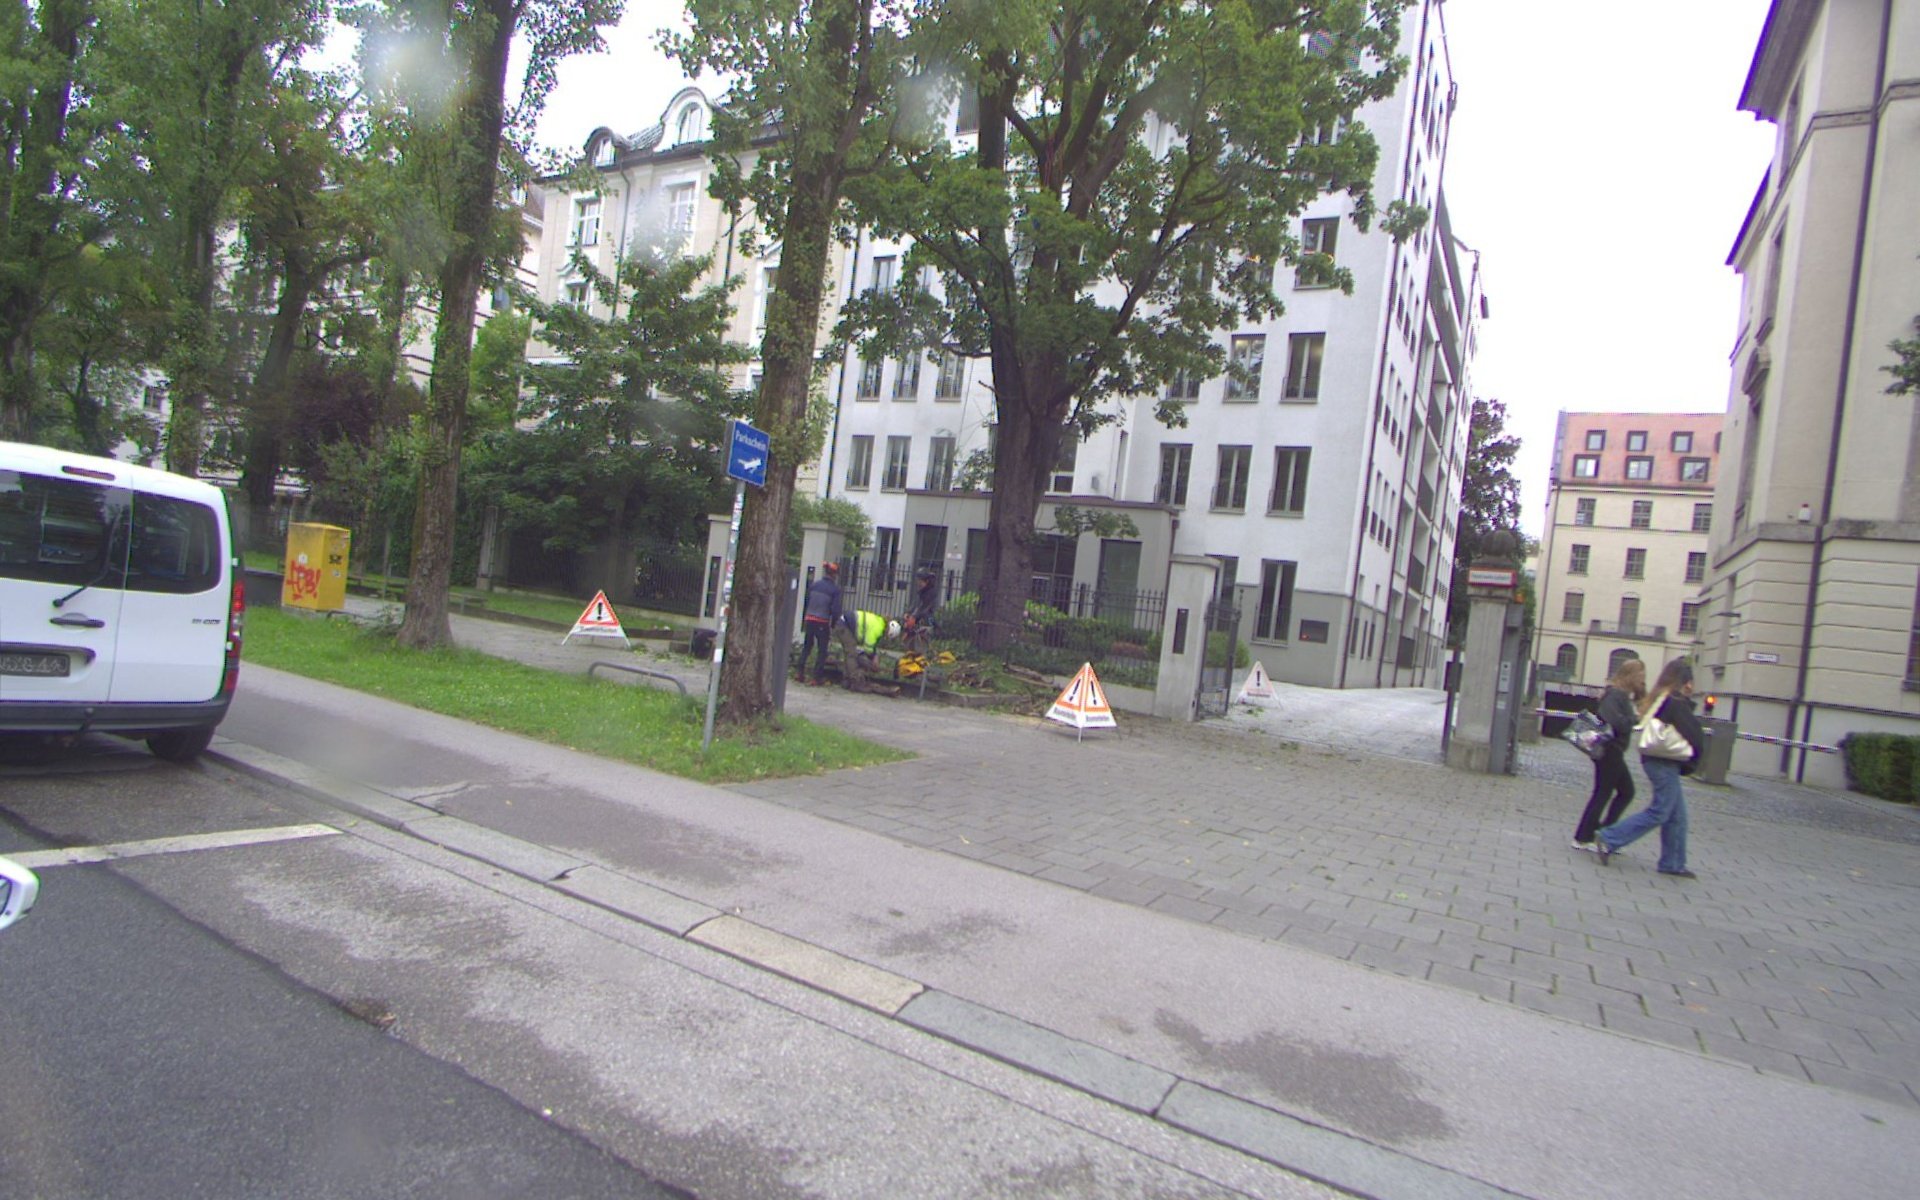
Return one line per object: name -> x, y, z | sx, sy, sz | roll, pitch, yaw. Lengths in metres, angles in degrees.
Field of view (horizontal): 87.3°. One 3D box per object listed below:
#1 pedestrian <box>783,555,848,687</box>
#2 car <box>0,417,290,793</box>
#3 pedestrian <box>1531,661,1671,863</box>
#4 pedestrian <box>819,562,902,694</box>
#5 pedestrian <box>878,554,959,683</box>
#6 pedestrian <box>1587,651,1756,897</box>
pedestrian -> -2.154, 0.318, 15.059 | 0.626, 1.886, 0.488 | 7, 1, 14
car -> -6.434, -0.154, 6.416 | 4.098, 1.904, 1.854 | 7, 0, 30
pedestrian -> 5.648, 1.390, 8.910 | 0.853, 1.598, 0.568 | 7, 1, 31
pedestrian -> -1.455, 0.407, 14.815 | 0.805, 1.804, 0.802 | 7, 1, 14
pedestrian -> -0.630, 0.287, 15.503 | 0.814, 1.823, 0.904 | 9, 2, 10
pedestrian -> 5.651, 1.327, 8.059 | 0.853, 1.739, 0.854 | 7, 2, 30
